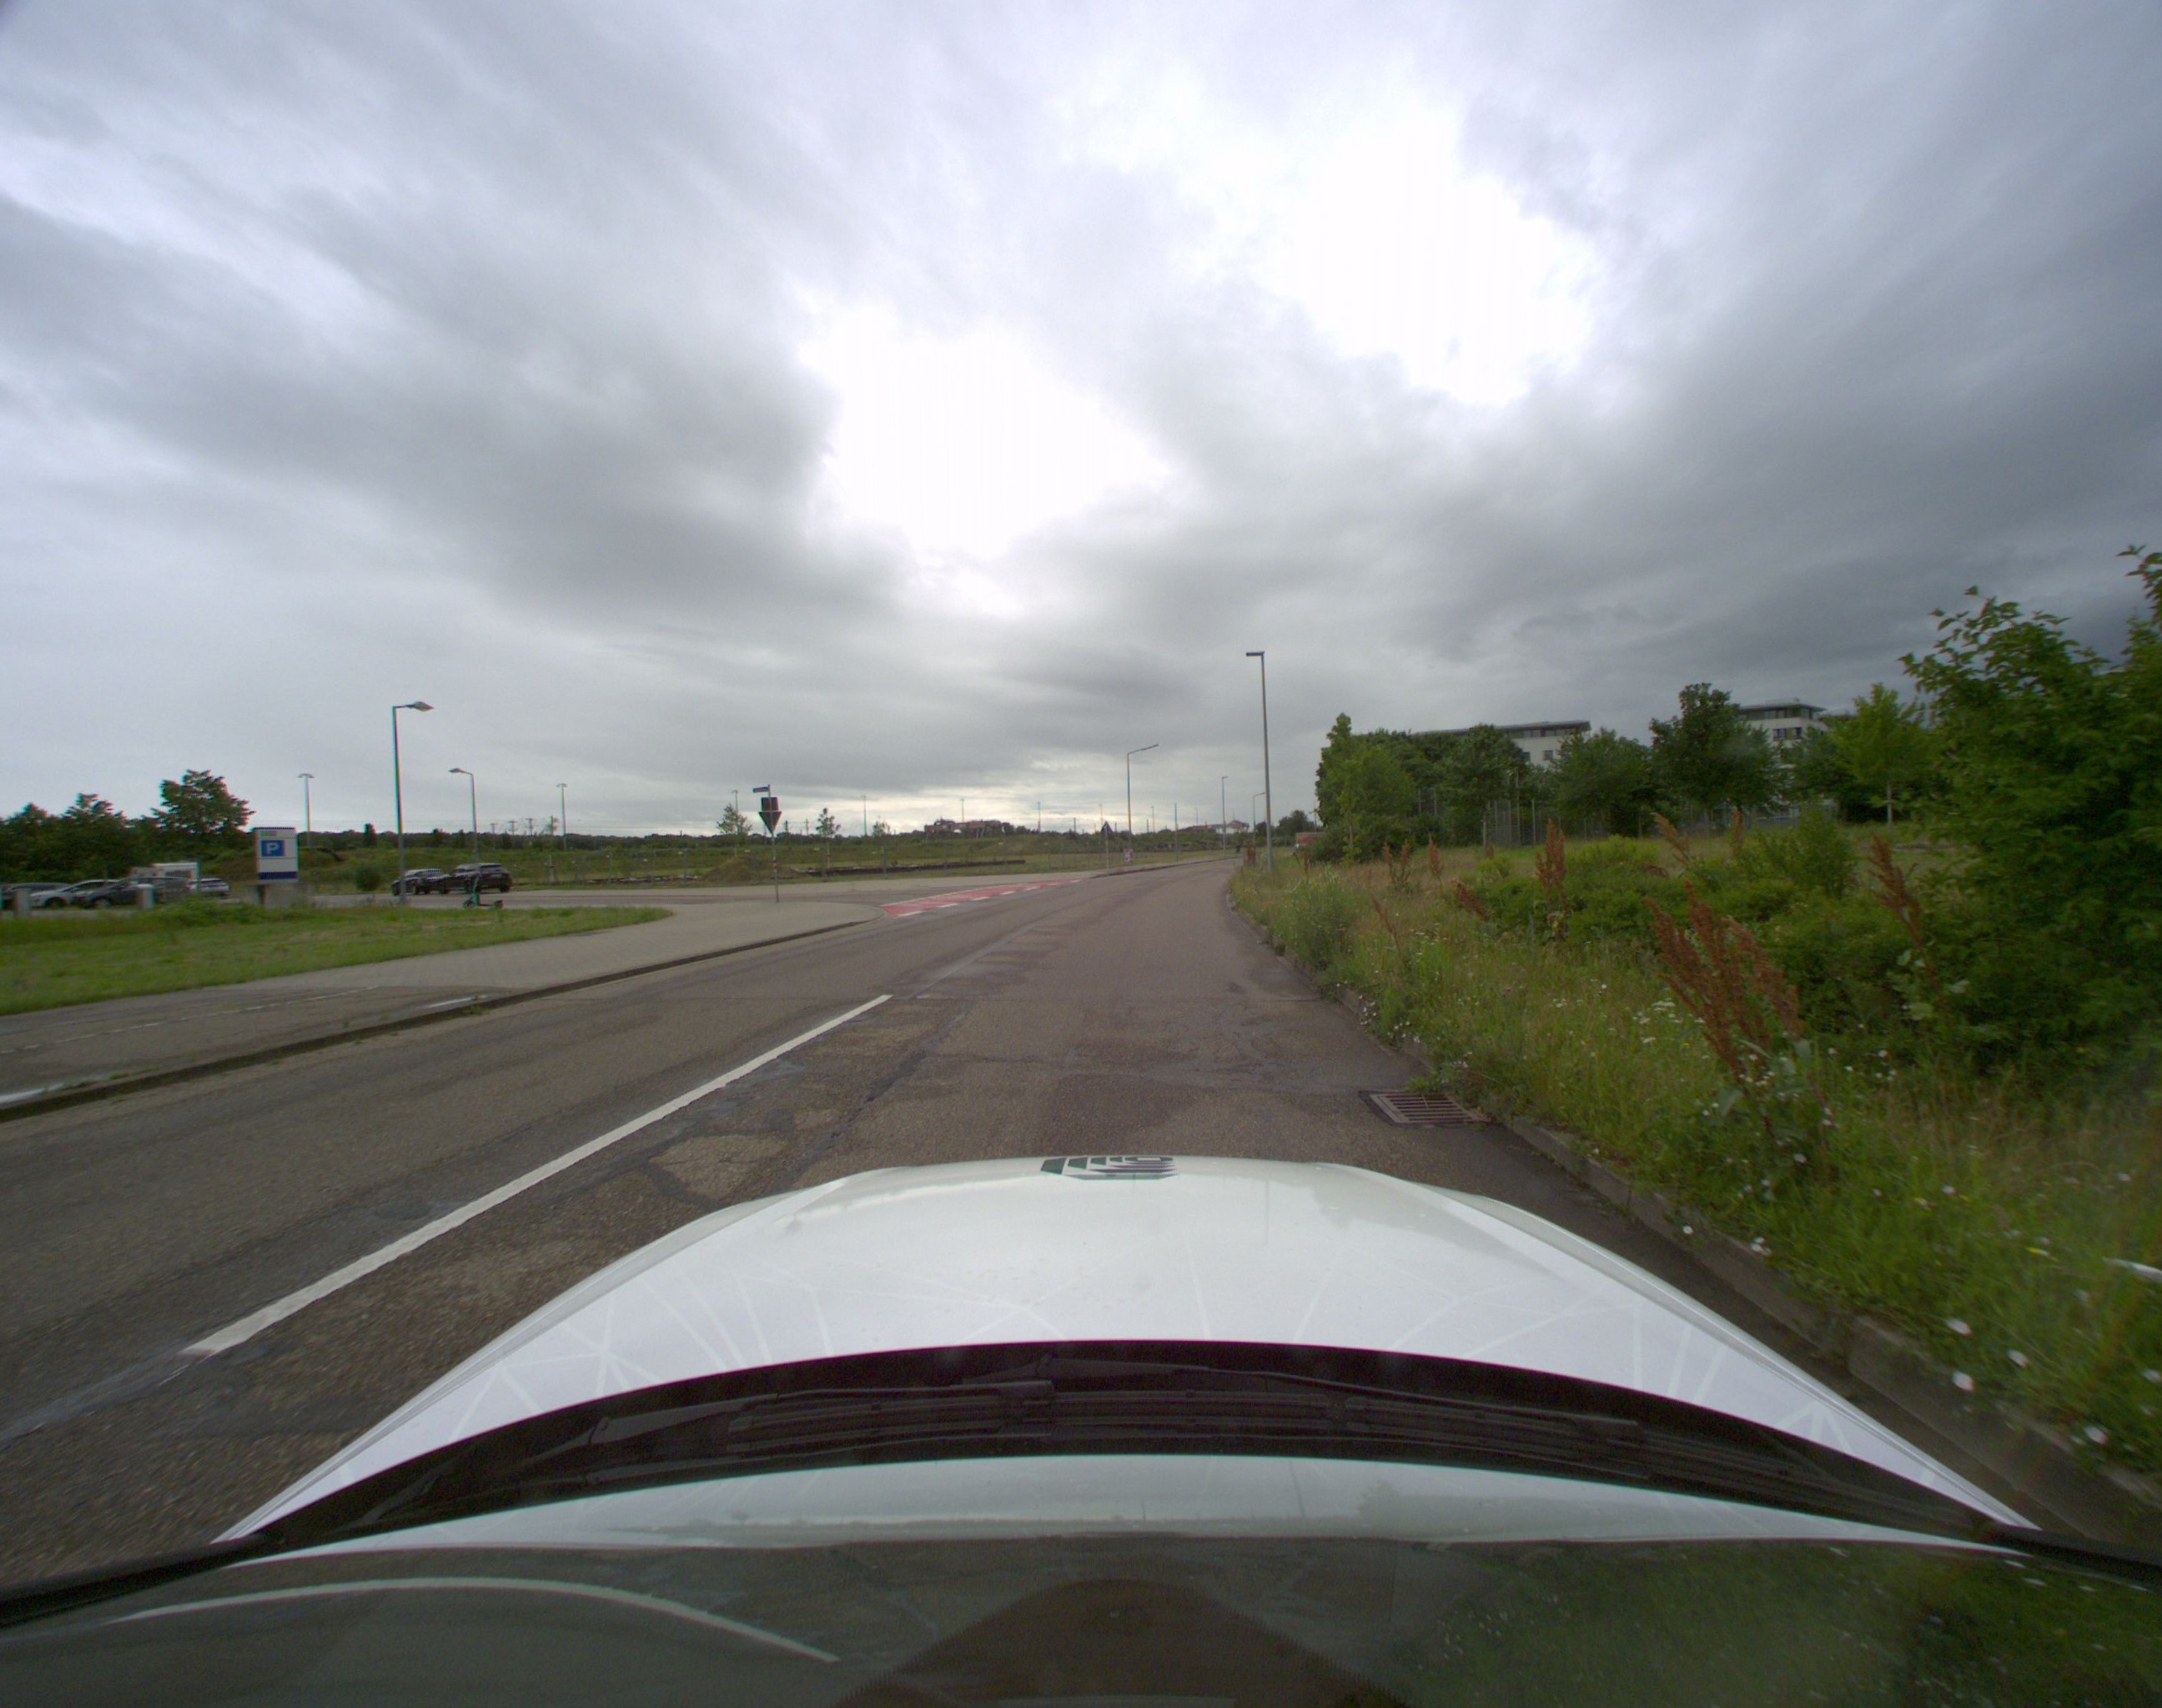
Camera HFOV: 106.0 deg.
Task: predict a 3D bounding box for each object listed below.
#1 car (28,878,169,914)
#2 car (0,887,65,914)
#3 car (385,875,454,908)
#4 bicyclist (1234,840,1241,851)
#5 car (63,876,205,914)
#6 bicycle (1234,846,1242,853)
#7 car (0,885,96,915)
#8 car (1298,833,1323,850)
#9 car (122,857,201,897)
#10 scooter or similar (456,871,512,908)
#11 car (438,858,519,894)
[{"bbox_3d":[-50.818,2.128,42.224,1.977,1.517,4.175,-2,1,20],"label":"car"},{"bbox_3d":[-62.164,2.725,47.023,1.723,1.398,4.023,-2,0,25],"label":"car"},{"bbox_3d":[-37.994,2.129,46.761,3.629,1.752,1.817,-2,1,30],"label":"car"},{"bbox_3d":[22.089,-1.183,114.727,0.775,1.526,1.099,-2,1,20],"label":"bicyclist"},{"bbox_3d":[-44.558,1.907,38.432,1.677,1.442,4.024,-2,1,26],"label":"car"},{"bbox_3d":[22.125,-0.630,114.748,0.796,0.907,2.244,-2,1,21],"label":"bicycle"},{"bbox_3d":[-57.242,2.517,44.468,1.724,1.398,4.023,-2,0,24],"label":"car"},{"bbox_3d":[37.188,-2.026,131.825,2.267,2.555,6.451,-2,1,31],"label":"car"},{"bbox_3d":[-75.074,1.891,66.486,6.492,2.956,2.731,-2,1,28],"label":"car"},{"bbox_3d":[-19.893,1.181,27.152,1.457,1.168,0.572,-1,0,2],"label":"scooter or similar"},{"bbox_3d":[-32.931,1.198,44.482,3.949,1.822,2.013,-2,1,29],"label":"car"}]
